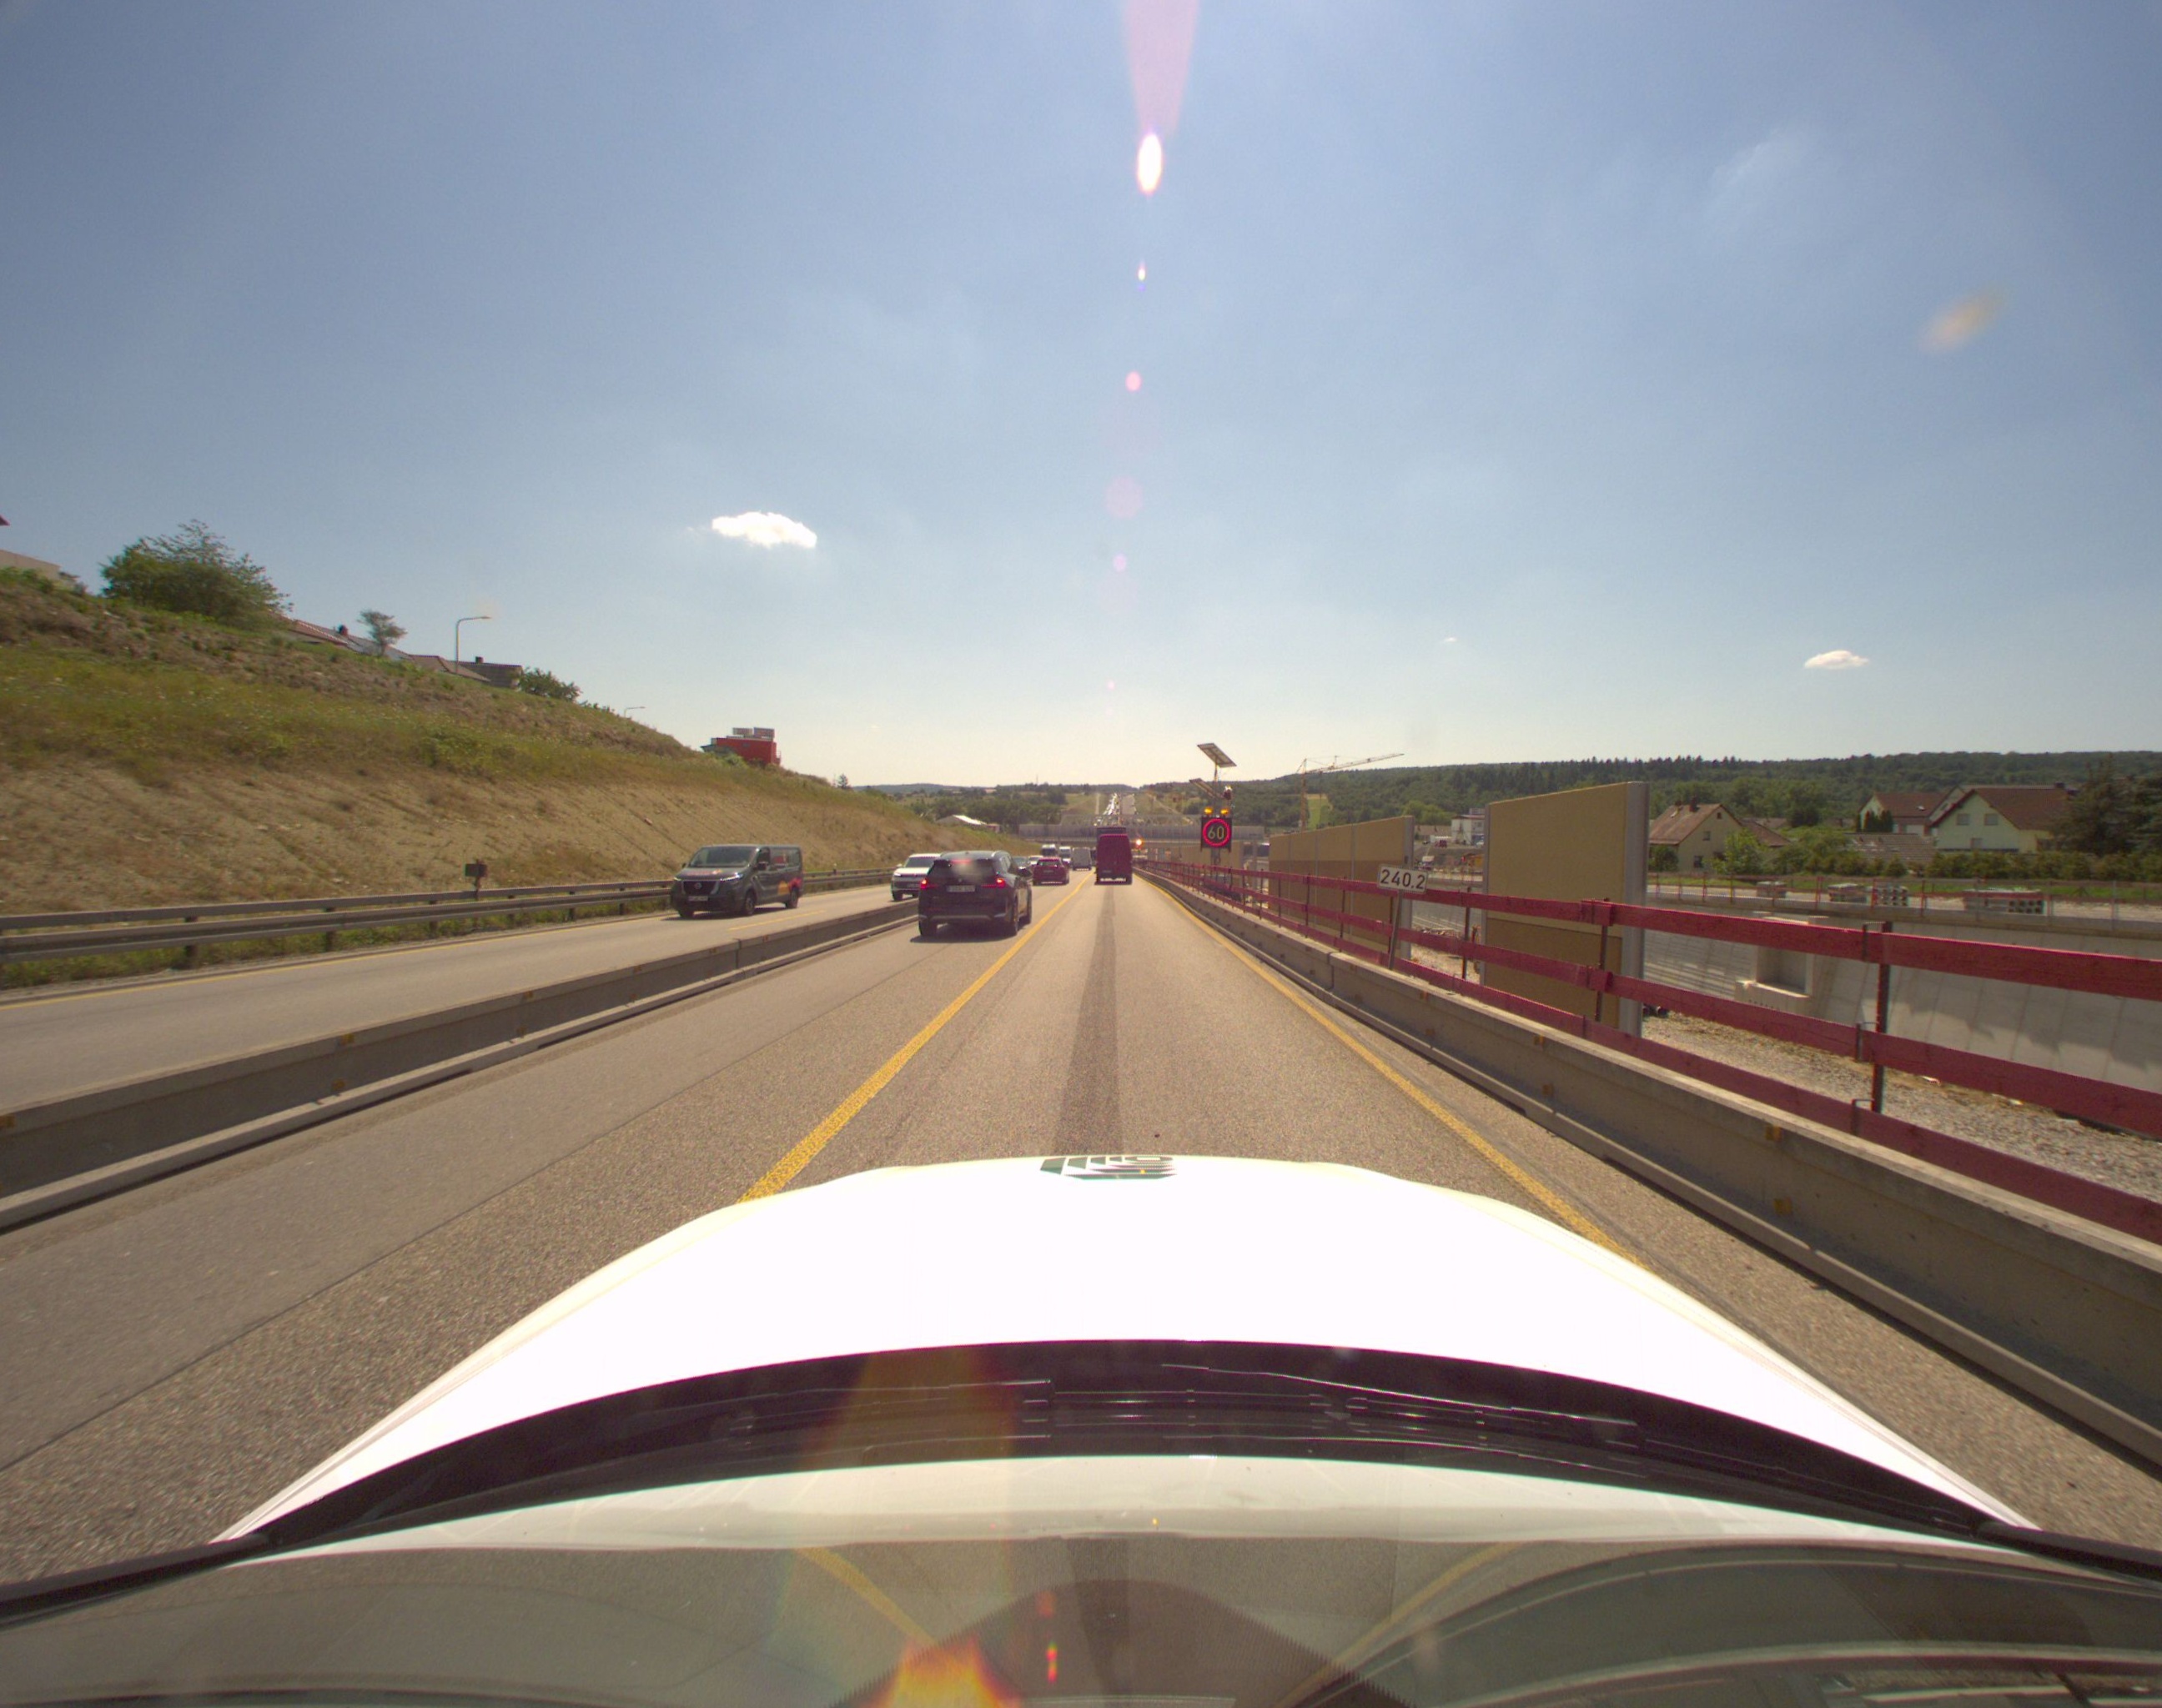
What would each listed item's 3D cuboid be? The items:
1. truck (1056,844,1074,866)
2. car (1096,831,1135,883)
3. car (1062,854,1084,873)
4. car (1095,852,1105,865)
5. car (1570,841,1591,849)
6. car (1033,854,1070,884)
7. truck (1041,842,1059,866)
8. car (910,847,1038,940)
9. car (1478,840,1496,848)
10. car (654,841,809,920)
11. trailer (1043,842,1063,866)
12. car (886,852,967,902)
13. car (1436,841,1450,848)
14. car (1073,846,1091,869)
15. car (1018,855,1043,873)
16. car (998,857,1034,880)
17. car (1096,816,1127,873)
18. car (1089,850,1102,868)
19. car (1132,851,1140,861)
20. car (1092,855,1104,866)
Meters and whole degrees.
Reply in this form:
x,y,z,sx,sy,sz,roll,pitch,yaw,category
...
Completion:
x,y,z,sx,sy,sz,roll,pitch,yaw,category
-2.482,0.203,128.366,2.528,3.374,7.040,0,0,2,truck
1.891,0.186,45.060,1.981,2.690,4.625,-1,0,2,car
-0.723,0.837,74.041,1.832,1.654,4.166,-1,0,1,car
3.505,0.772,147.867,1.769,2.330,4.208,-1,0,2,car
92.693,-1.617,151.147,1.673,1.517,4.079,0,0,4,car
-1.553,0.767,43.520,1.770,1.517,4.206,-1,0,0,car
-5.258,-0.036,139.277,2.688,4.050,3.956,0,0,1,truck
-2.037,0.711,16.827,1.872,1.618,4.501,-1,0,2,car
77.303,-1.873,155.209,1.673,1.517,4.079,0,0,4,car
-9.598,0.664,22.936,2.031,1.926,5.123,-2,0,1,car
-5.029,-0.001,146.969,2.688,4.024,13.707,0,0,2,trailer
-5.635,0.782,30.361,1.832,1.654,5.373,-1,0,1,car
69.639,-1.762,156.709,1.508,1.316,3.433,0,0,4,car
0.133,0.410,91.263,1.769,2.441,4.208,-1,0,2,car
-4.652,0.895,75.664,1.838,1.665,4.690,0,0,2,car
-4.531,0.989,57.678,1.947,1.499,5.092,0,0,2,car
2.849,-0.814,76.945,2.611,5.032,10.401,-1,0,2,car
2.011,0.661,111.511,1.769,2.330,4.208,-1,0,2,car
13.180,0.447,195.959,1.769,2.330,4.208,-1,0,2,car
2.654,1.033,125.125,1.769,1.670,4.030,-1,0,2,car
